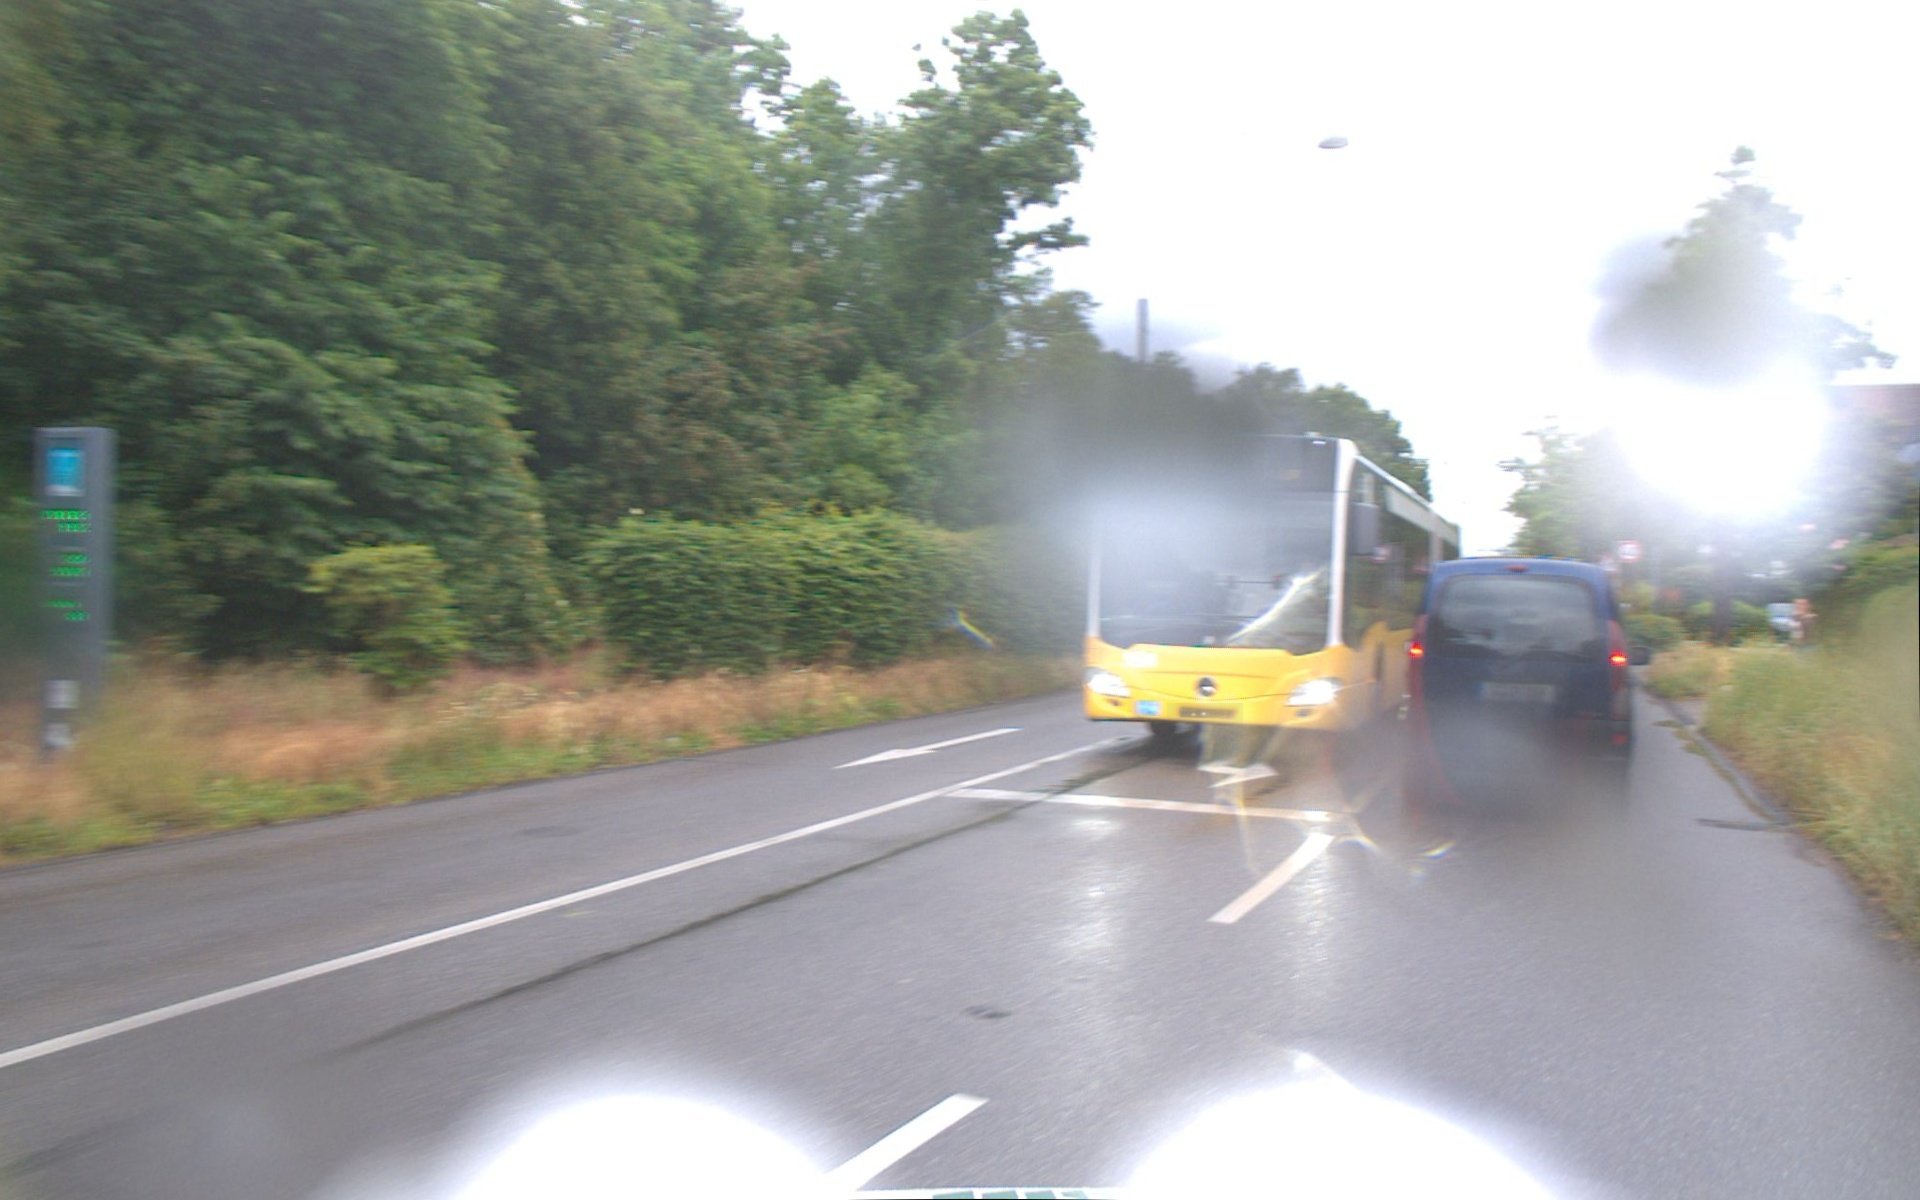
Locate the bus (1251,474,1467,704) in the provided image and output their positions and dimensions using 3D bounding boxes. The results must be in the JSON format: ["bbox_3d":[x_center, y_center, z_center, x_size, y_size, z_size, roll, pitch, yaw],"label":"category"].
[{"bbox_3d":[6.906,-0.139,27.632,2.541,3.213,8.637,2,0,20],"label":"bus"}]

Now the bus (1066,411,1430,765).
[{"bbox_3d":[3.788,-0.093,19.259,2.589,3.098,9.231,2,0,20],"label":"bus"}]

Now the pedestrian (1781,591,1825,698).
[{"bbox_3d":[12.520,0.654,24.568,0.471,1.561,0.440,2,0,16],"label":"pedestrian"}]

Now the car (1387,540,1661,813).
[{"bbox_3d":[4.492,0.527,13.244,1.771,1.829,4.001,0,-1,19],"label":"car"}]

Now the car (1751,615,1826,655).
[{"bbox_3d":[27.115,1.120,54.225,1.794,1.197,4.000,2,0,21],"label":"car"}]
